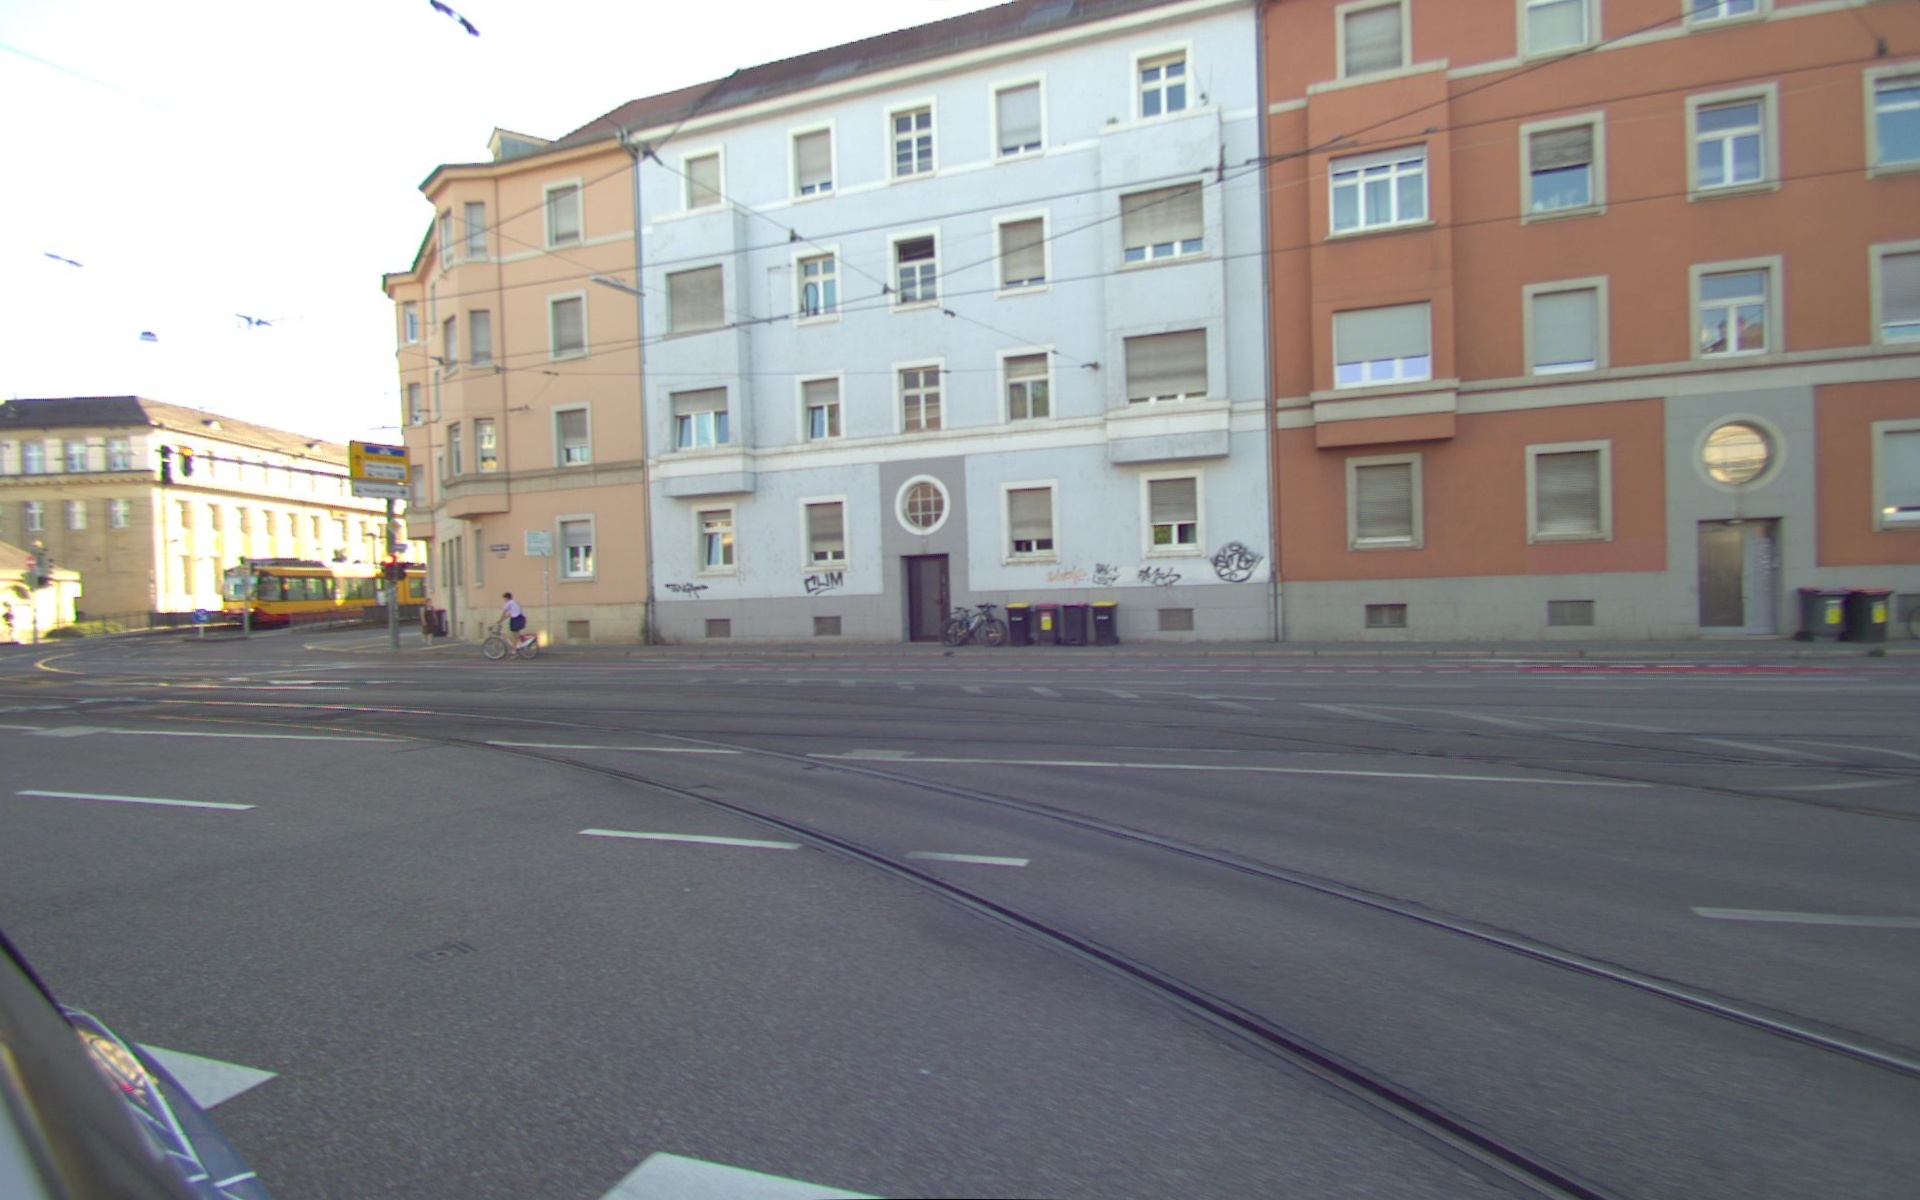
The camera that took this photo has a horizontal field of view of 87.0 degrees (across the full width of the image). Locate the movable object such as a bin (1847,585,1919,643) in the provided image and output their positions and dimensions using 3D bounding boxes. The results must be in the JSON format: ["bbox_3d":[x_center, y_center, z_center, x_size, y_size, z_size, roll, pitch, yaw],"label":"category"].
[{"bbox_3d":[17.366,0.247,18.961,0.804,1.048,0.841,-2,0,17],"label":"movable object such as a bin"}]

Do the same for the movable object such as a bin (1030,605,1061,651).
[{"bbox_3d":[2.127,0.688,25.082,0.578,1.114,0.699,-2,1,21],"label":"movable object such as a bin"}]

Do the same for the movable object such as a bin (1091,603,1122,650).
[{"bbox_3d":[3.553,0.635,24.473,0.578,1.114,0.699,-2,1,21],"label":"movable object such as a bin"}]

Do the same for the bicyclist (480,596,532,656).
[{"bbox_3d":[-12.797,0.729,28.521,1.118,1.655,0.743,-2,0,21],"label":"bicyclist"}]

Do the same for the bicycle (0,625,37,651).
[{"bbox_3d":[-45.393,1.810,48.427,0.675,1.144,2.077,-2,2,-6],"label":"bicycle"}]

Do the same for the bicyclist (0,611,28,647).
[{"bbox_3d":[-45.402,1.397,48.465,0.667,1.651,0.941,-2,1,-6],"label":"bicyclist"}]

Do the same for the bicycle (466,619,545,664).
[{"bbox_3d":[-12.814,1.166,28.523,2.137,1.200,0.743,-2,0,22],"label":"bicycle"}]

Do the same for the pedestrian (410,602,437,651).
[{"bbox_3d":[-17.875,0.884,33.728,0.666,1.575,0.722,-2,0,-35],"label":"pedestrian"}]

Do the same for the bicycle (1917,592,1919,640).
[{"bbox_3d":[18.774,0.281,18.659,1.595,0.897,0.333,-1,0,26],"label":"bicycle"}]

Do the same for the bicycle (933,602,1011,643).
[{"bbox_3d":[0.307,0.586,25.839,1.863,0.987,0.603,-1,1,21],"label":"bicycle"}]

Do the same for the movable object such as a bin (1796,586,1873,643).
[{"bbox_3d":[16.613,0.264,19.243,0.804,1.048,0.841,-2,0,17],"label":"movable object such as a bin"}]

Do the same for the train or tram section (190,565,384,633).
[{"bbox_3d":[-37.548,-0.132,57.316,3.123,3.346,11.820,-2,1,-1],"label":"train or tram section"}]

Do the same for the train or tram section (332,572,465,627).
[{"bbox_3d":[-37.707,-0.158,68.639,3.121,3.381,10.683,-2,1,-1],"label":"train or tram section"}]

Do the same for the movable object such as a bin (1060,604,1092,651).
[{"bbox_3d":[2.846,0.660,24.792,0.578,1.114,0.699,-2,1,21],"label":"movable object such as a bin"}]

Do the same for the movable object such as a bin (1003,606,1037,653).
[{"bbox_3d":[1.506,0.733,25.333,0.644,1.114,0.699,-2,1,21],"label":"movable object such as a bin"}]
